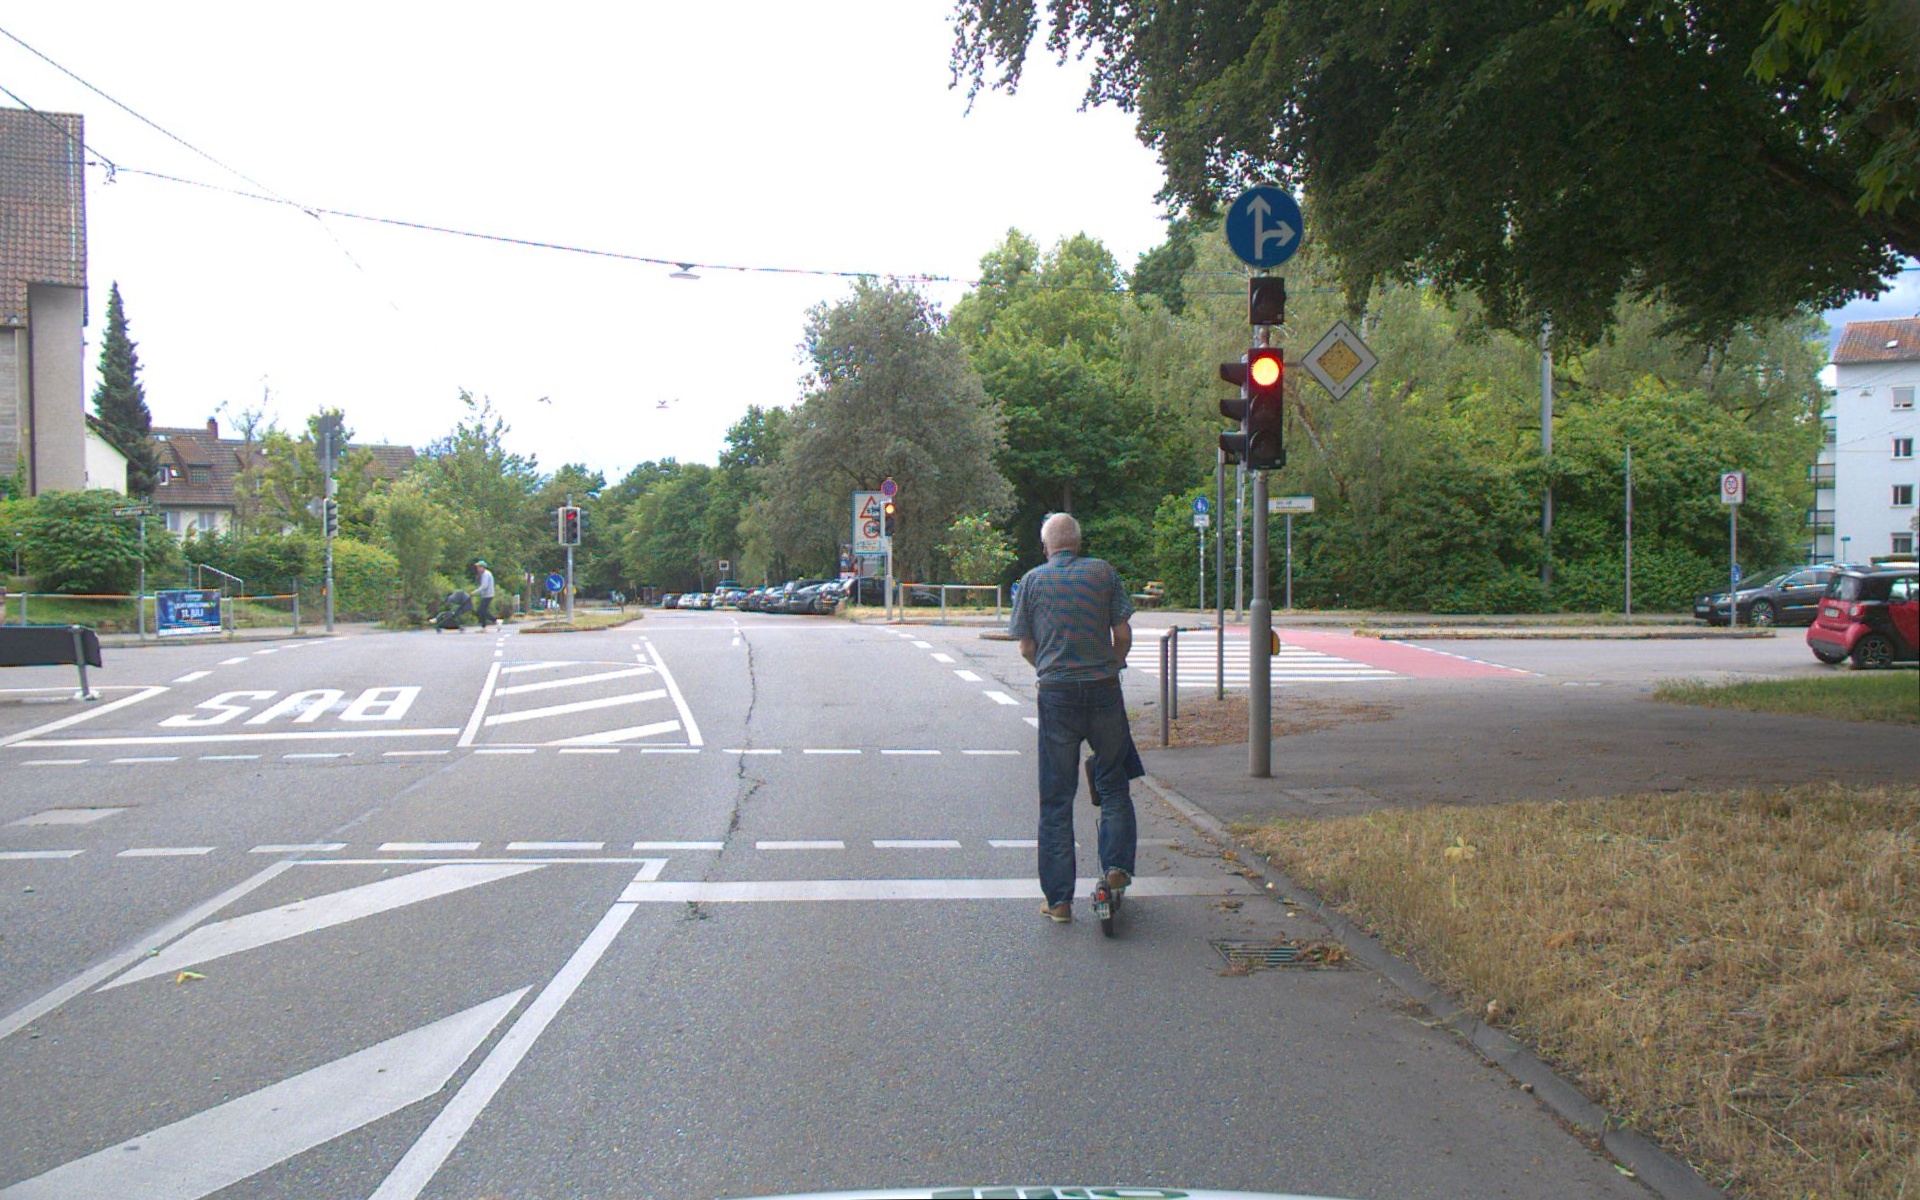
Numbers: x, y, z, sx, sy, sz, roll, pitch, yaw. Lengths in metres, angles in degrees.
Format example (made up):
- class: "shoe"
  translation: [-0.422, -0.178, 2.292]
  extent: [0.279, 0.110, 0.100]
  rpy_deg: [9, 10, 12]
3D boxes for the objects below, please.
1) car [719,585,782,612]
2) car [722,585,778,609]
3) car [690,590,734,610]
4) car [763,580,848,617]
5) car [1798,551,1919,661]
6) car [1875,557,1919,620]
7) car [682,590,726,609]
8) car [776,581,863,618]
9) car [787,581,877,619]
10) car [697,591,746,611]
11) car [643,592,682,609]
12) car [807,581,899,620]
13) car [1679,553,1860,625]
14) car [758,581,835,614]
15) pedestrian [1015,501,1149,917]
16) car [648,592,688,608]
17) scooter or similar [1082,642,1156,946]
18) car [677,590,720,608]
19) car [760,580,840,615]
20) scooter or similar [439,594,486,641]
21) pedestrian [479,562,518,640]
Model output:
- class: "car"
  translation: [-13.780, -0.100, 108.717]
  extent: [3.790, 1.639, 1.716]
  rpy_deg: [-2, 1, -24]
- class: "car"
  translation: [-15.435, -0.239, 121.660]
  extent: [3.790, 1.639, 1.716]
  rpy_deg: [-2, 1, -24]
- class: "car"
  translation: [-23.057, -0.006, 153.721]
  extent: [3.790, 1.639, 1.716]
  rpy_deg: [-2, 1, -24]
- class: "car"
  translation: [-7.577, -0.076, 81.222]
  extent: [3.790, 1.639, 1.716]
  rpy_deg: [-2, 1, -24]
- class: "car"
  translation: [15.250, 0.043, 25.836]
  extent: [3.444, 1.639, 1.729]
  rpy_deg: [-2, 1, 4]
- class: "car"
  translation: [26.401, -0.342, 45.817]
  extent: [1.689, 1.639, 3.850]
  rpy_deg: [-1, 1, 27]
- class: "car"
  translation: [-24.116, -0.079, 155.838]
  extent: [3.790, 1.639, 1.716]
  rpy_deg: [-2, 1, -24]
- class: "car"
  translation: [-6.725, -0.022, 79.199]
  extent: [3.790, 1.639, 1.716]
  rpy_deg: [-2, 1, -24]
- class: "car"
  translation: [-5.932, -0.002, 76.670]
  extent: [3.792, 1.639, 1.715]
  rpy_deg: [-2, 1, -25]
- class: "car"
  translation: [-20.549, 0.071, 142.454]
  extent: [3.790, 1.639, 1.716]
  rpy_deg: [-2, 1, -24]
- class: "car"
  translation: [-31.927, 0.052, 177.487]
  extent: [3.790, 1.639, 1.716]
  rpy_deg: [-2, 1, -24]
- class: "car"
  translation: [-4.847, 0.004, 74.716]
  extent: [3.787, 1.639, 1.717]
  rpy_deg: [-2, 1, -22]
- class: "car"
  translation: [19.149, -0.268, 39.238]
  extent: [3.444, 1.557, 1.729]
  rpy_deg: [-2, 1, 5]
- class: "car"
  translation: [-8.803, -0.153, 88.929]
  extent: [3.790, 1.639, 1.716]
  rpy_deg: [-2, 1, -24]
- class: "pedestrian"
  translation: [0.564, 0.483, 7.568]
  extent: [0.560, 1.845, 0.421]
  rpy_deg: [-1, 0, 7]
- class: "car"
  translation: [-30.918, -0.006, 175.165]
  extent: [3.790, 1.639, 1.716]
  rpy_deg: [-2, 1, -24]
- class: "scooter or similar"
  translation: [0.725, 0.814, 7.395]
  extent: [0.276, 1.199, 1.178]
  rpy_deg: [-1, 1, 7]
- class: "car"
  translation: [-25.047, -0.107, 158.394]
  extent: [3.790, 1.639, 1.716]
  rpy_deg: [-2, 1, -24]
- class: "car"
  translation: [-8.364, -0.140, 86.523]
  extent: [3.790, 1.639, 1.716]
  rpy_deg: [-2, 1, -24]
- class: "scooter or similar"
  translation: [-12.104, 0.418, 40.246]
  extent: [1.090, 1.100, 0.575]
  rpy_deg: [-1, 1, -18]
- class: "pedestrian"
  translation: [-11.323, 0.020, 40.543]
  extent: [0.870, 1.895, 0.571]
  rpy_deg: [-1, 0, -19]
